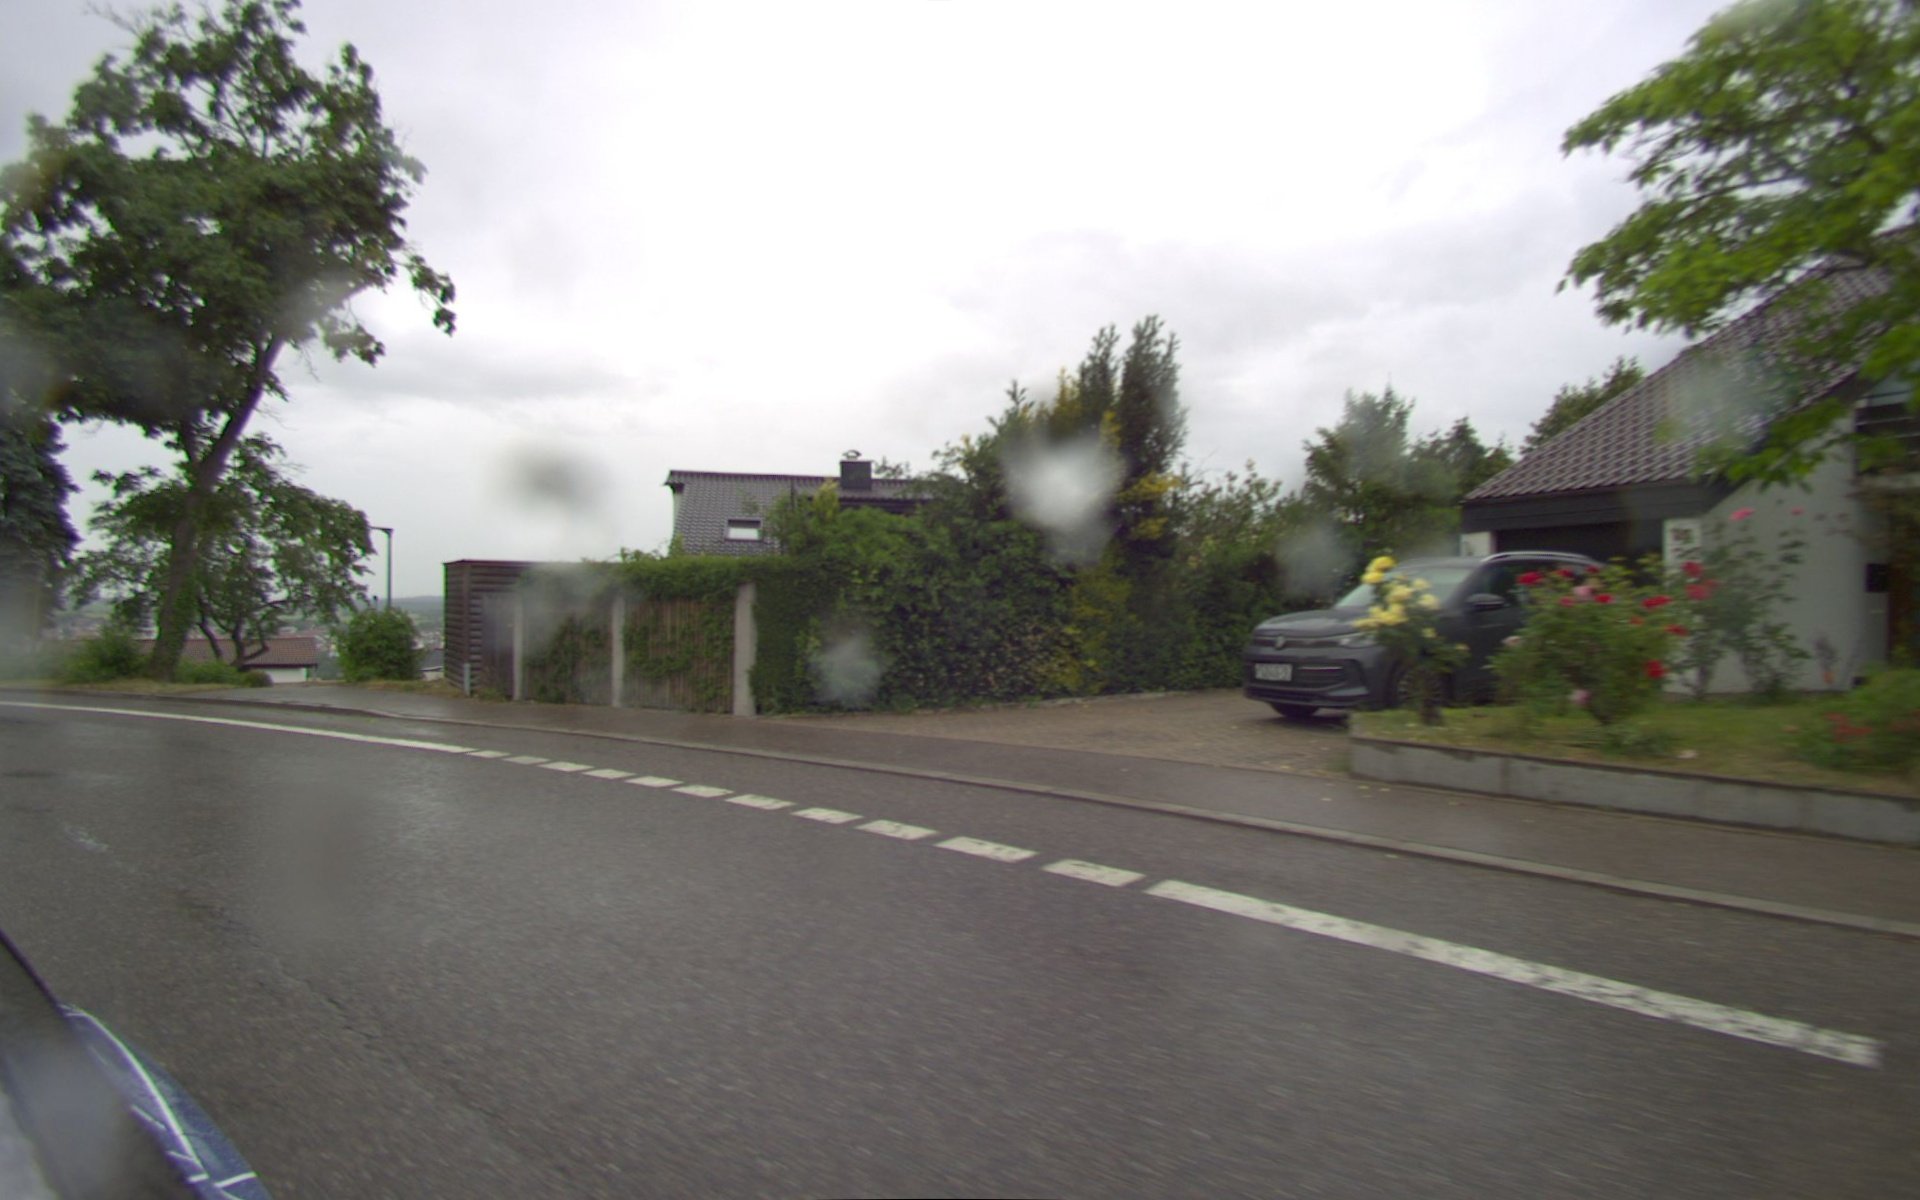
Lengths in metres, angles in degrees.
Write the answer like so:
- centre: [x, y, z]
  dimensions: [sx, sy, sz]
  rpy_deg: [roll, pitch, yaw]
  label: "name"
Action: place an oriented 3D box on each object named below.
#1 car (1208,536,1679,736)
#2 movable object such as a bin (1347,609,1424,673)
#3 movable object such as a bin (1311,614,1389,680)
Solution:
- centre: [4.784, 0.274, 10.161]
  dimensions: [3.931, 1.644, 2.020]
  rpy_deg: [-2, 0, -20]
  label: "car"
- centre: [6.328, 0.601, 15.075]
  dimensions: [0.717, 0.910, 0.746]
  rpy_deg: [-1, 0, -26]
  label: "movable object such as a bin"
- centre: [5.670, 0.665, 14.738]
  dimensions: [0.717, 0.910, 0.746]
  rpy_deg: [-1, 0, -26]
  label: "movable object such as a bin"
